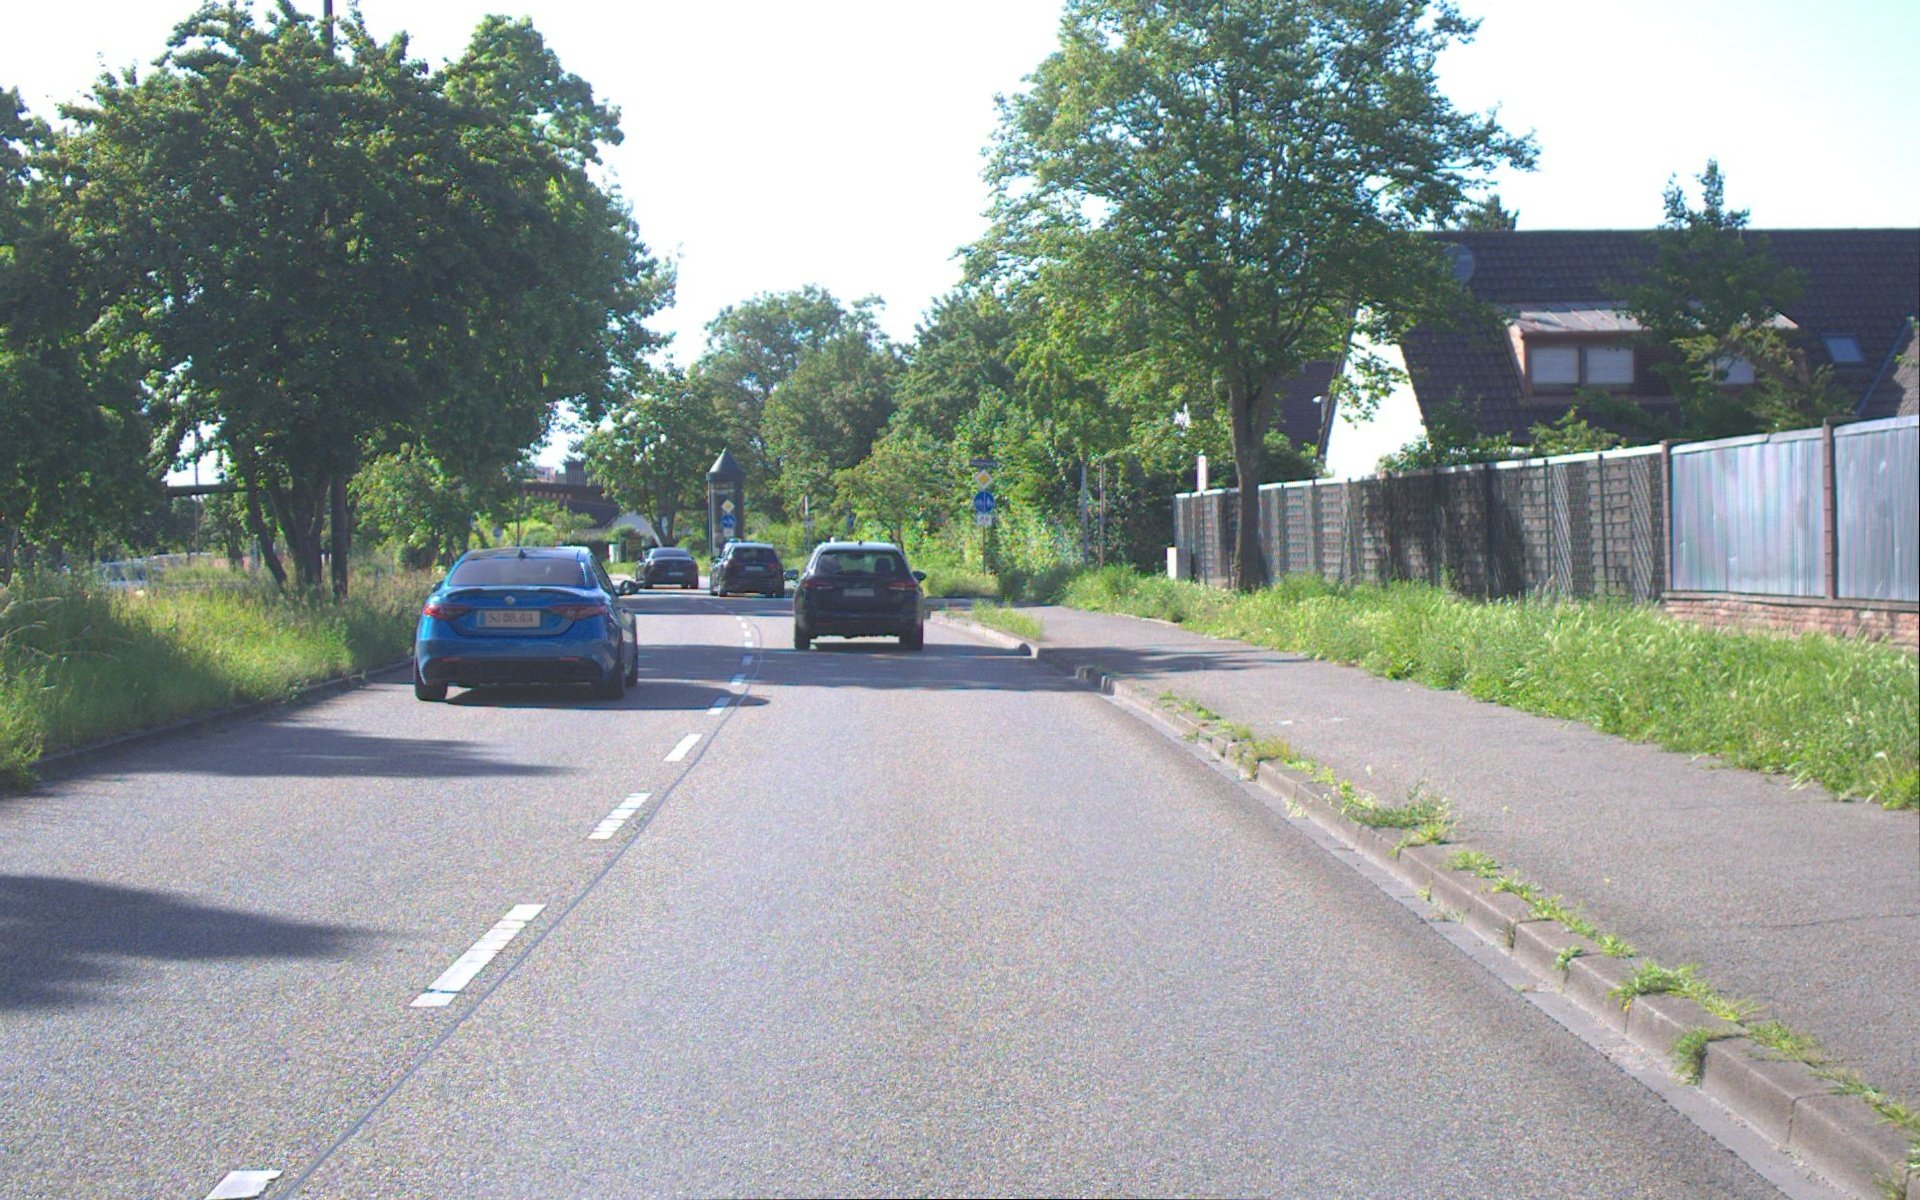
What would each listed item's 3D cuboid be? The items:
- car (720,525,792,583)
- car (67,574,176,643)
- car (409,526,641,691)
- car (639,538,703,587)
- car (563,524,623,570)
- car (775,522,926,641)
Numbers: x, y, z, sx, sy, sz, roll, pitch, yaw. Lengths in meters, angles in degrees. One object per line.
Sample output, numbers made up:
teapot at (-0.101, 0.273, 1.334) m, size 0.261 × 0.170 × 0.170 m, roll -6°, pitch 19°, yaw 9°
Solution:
car at (-5.681, -1.287, 95.446) m, size 1.915 × 1.574 × 4.183 m, roll 0°, pitch 1°, yaw -5°
car at (-19.996, 0.185, 82.150) m, size 1.669 × 1.462 × 4.180 m, roll -3°, pitch 1°, yaw -3°
car at (-4.074, 0.095, 32.760) m, size 1.838 × 1.469 × 4.184 m, roll 0°, pitch -1°, yaw -2°
car at (-10.045, -1.300, 119.418) m, size 1.915 × 1.672 × 4.013 m, roll 0°, pitch 1°, yaw -9°
car at (-12.412, -1.796, 116.136) m, size 1.915 × 1.507 × 4.069 m, roll -1°, pitch 1°, yaw -7°
car at (-1.580, -0.301, 48.170) m, size 1.915 × 1.574 × 4.183 m, roll -1°, pitch 1°, yaw -4°
